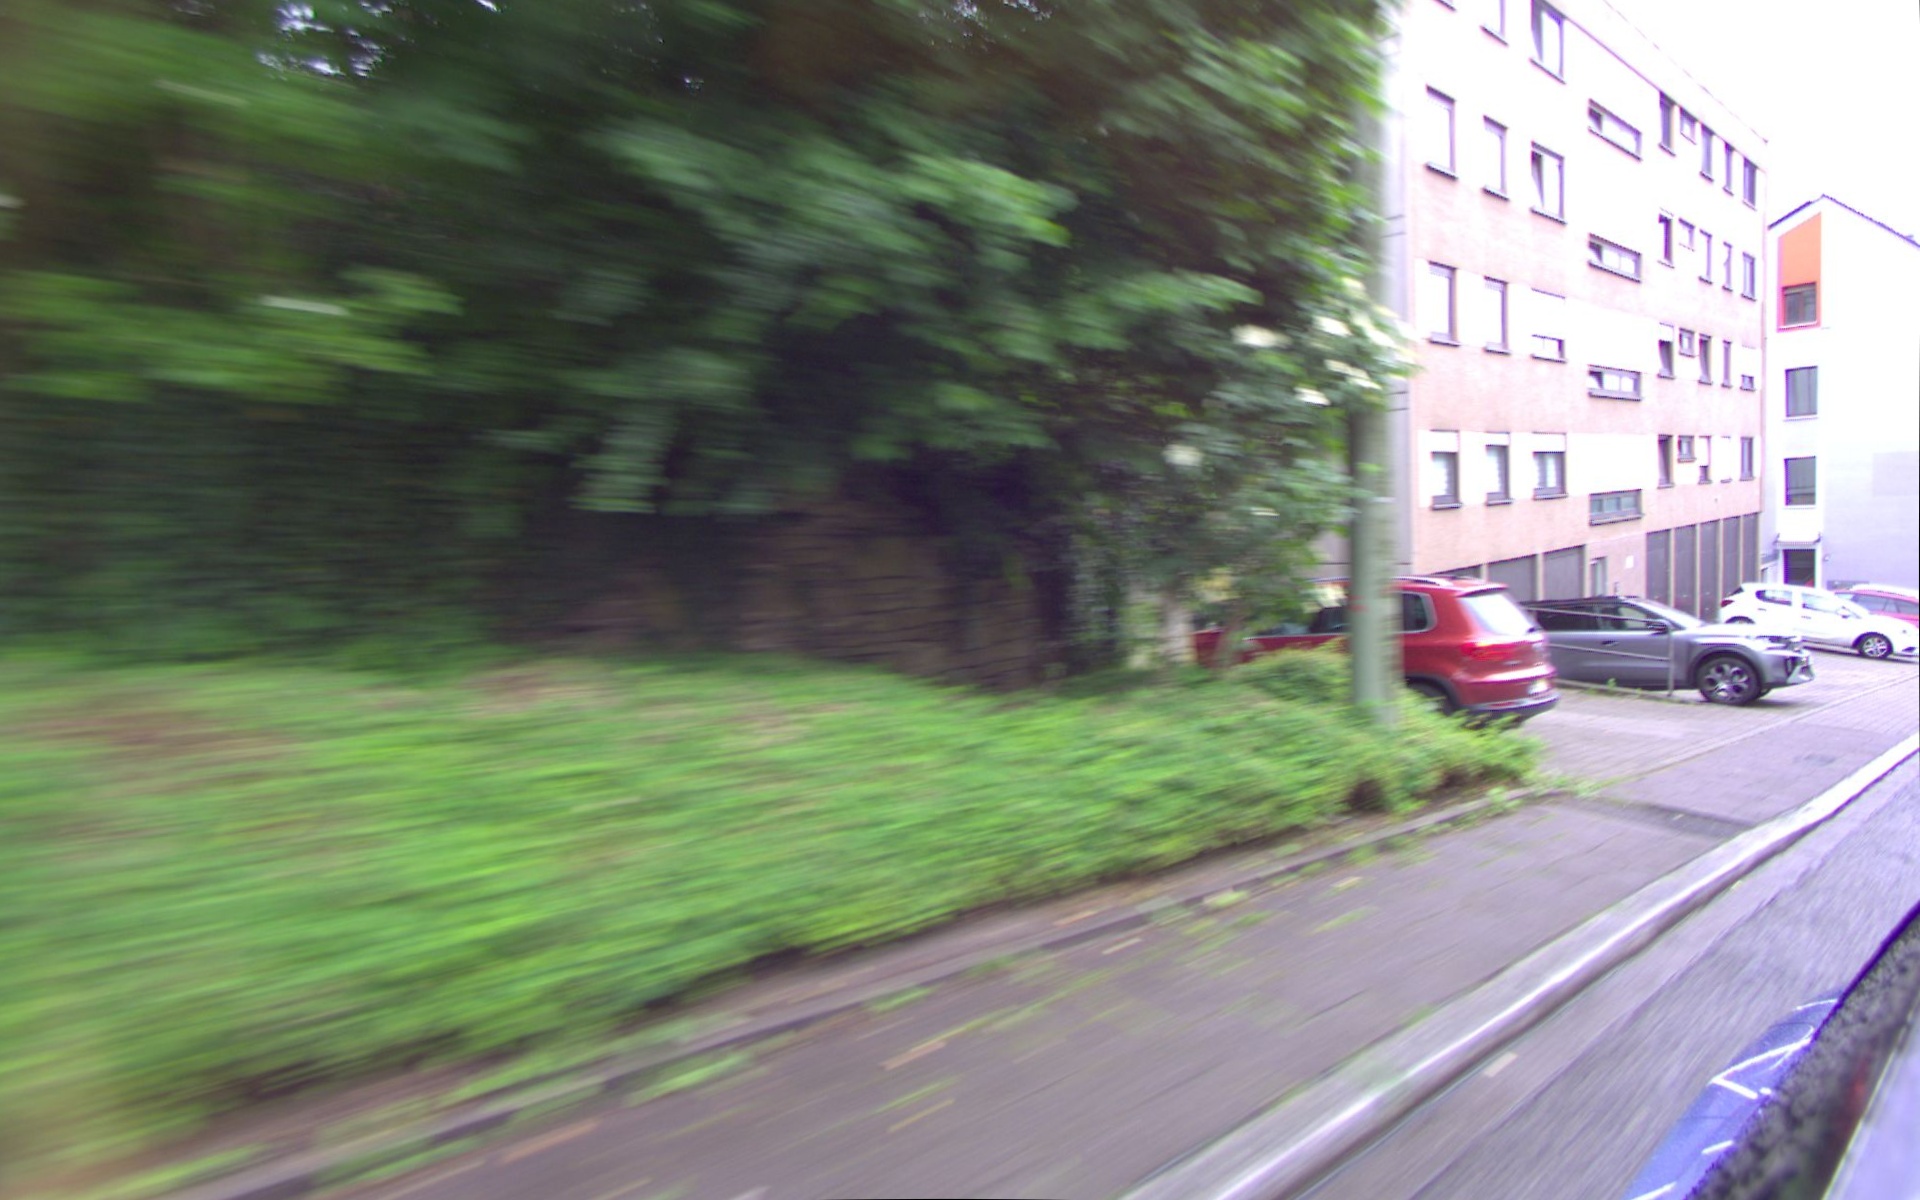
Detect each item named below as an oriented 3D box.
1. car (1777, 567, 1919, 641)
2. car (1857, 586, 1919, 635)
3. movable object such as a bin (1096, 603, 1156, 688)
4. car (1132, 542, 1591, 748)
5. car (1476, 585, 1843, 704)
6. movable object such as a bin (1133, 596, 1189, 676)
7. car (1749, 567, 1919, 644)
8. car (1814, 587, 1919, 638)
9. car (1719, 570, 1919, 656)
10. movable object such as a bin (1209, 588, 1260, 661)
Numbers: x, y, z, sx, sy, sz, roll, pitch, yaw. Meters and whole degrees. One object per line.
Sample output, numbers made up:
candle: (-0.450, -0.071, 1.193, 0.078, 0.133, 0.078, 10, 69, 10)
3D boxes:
car: (26.427, 0.123, 29.364, 1.698, 1.721, 3.837, 0, 8, -41)
car: (32.268, 0.383, 33.397, 1.631, 1.569, 3.809, 0, 2, -41)
movable object such as a bin: (2.221, 0.594, 13.521, 0.593, 1.074, 0.508, -3, 1, -40)
car: (4.069, 0.418, 10.780, 1.731, 1.757, 4.200, 0, -1, -44)
car: (10.255, 0.598, 15.092, 1.730, 1.515, 4.203, 0, -1, -42)
movable object such as a bin: (2.864, 0.497, 14.407, 0.593, 1.074, 0.508, -3, 1, -40)
car: (24.669, 0.153, 27.754, 1.844, 1.547, 4.356, 0, 8, -41)
car: (29.539, 0.391, 31.495, 1.861, 1.484, 4.276, 0, 2, -41)
car: (21.038, 0.265, 24.480, 1.664, 1.547, 3.970, 0, 7, -43)
movable object such as a bin: (4.223, 0.371, 15.569, 0.593, 1.074, 0.508, -3, 1, -40)
